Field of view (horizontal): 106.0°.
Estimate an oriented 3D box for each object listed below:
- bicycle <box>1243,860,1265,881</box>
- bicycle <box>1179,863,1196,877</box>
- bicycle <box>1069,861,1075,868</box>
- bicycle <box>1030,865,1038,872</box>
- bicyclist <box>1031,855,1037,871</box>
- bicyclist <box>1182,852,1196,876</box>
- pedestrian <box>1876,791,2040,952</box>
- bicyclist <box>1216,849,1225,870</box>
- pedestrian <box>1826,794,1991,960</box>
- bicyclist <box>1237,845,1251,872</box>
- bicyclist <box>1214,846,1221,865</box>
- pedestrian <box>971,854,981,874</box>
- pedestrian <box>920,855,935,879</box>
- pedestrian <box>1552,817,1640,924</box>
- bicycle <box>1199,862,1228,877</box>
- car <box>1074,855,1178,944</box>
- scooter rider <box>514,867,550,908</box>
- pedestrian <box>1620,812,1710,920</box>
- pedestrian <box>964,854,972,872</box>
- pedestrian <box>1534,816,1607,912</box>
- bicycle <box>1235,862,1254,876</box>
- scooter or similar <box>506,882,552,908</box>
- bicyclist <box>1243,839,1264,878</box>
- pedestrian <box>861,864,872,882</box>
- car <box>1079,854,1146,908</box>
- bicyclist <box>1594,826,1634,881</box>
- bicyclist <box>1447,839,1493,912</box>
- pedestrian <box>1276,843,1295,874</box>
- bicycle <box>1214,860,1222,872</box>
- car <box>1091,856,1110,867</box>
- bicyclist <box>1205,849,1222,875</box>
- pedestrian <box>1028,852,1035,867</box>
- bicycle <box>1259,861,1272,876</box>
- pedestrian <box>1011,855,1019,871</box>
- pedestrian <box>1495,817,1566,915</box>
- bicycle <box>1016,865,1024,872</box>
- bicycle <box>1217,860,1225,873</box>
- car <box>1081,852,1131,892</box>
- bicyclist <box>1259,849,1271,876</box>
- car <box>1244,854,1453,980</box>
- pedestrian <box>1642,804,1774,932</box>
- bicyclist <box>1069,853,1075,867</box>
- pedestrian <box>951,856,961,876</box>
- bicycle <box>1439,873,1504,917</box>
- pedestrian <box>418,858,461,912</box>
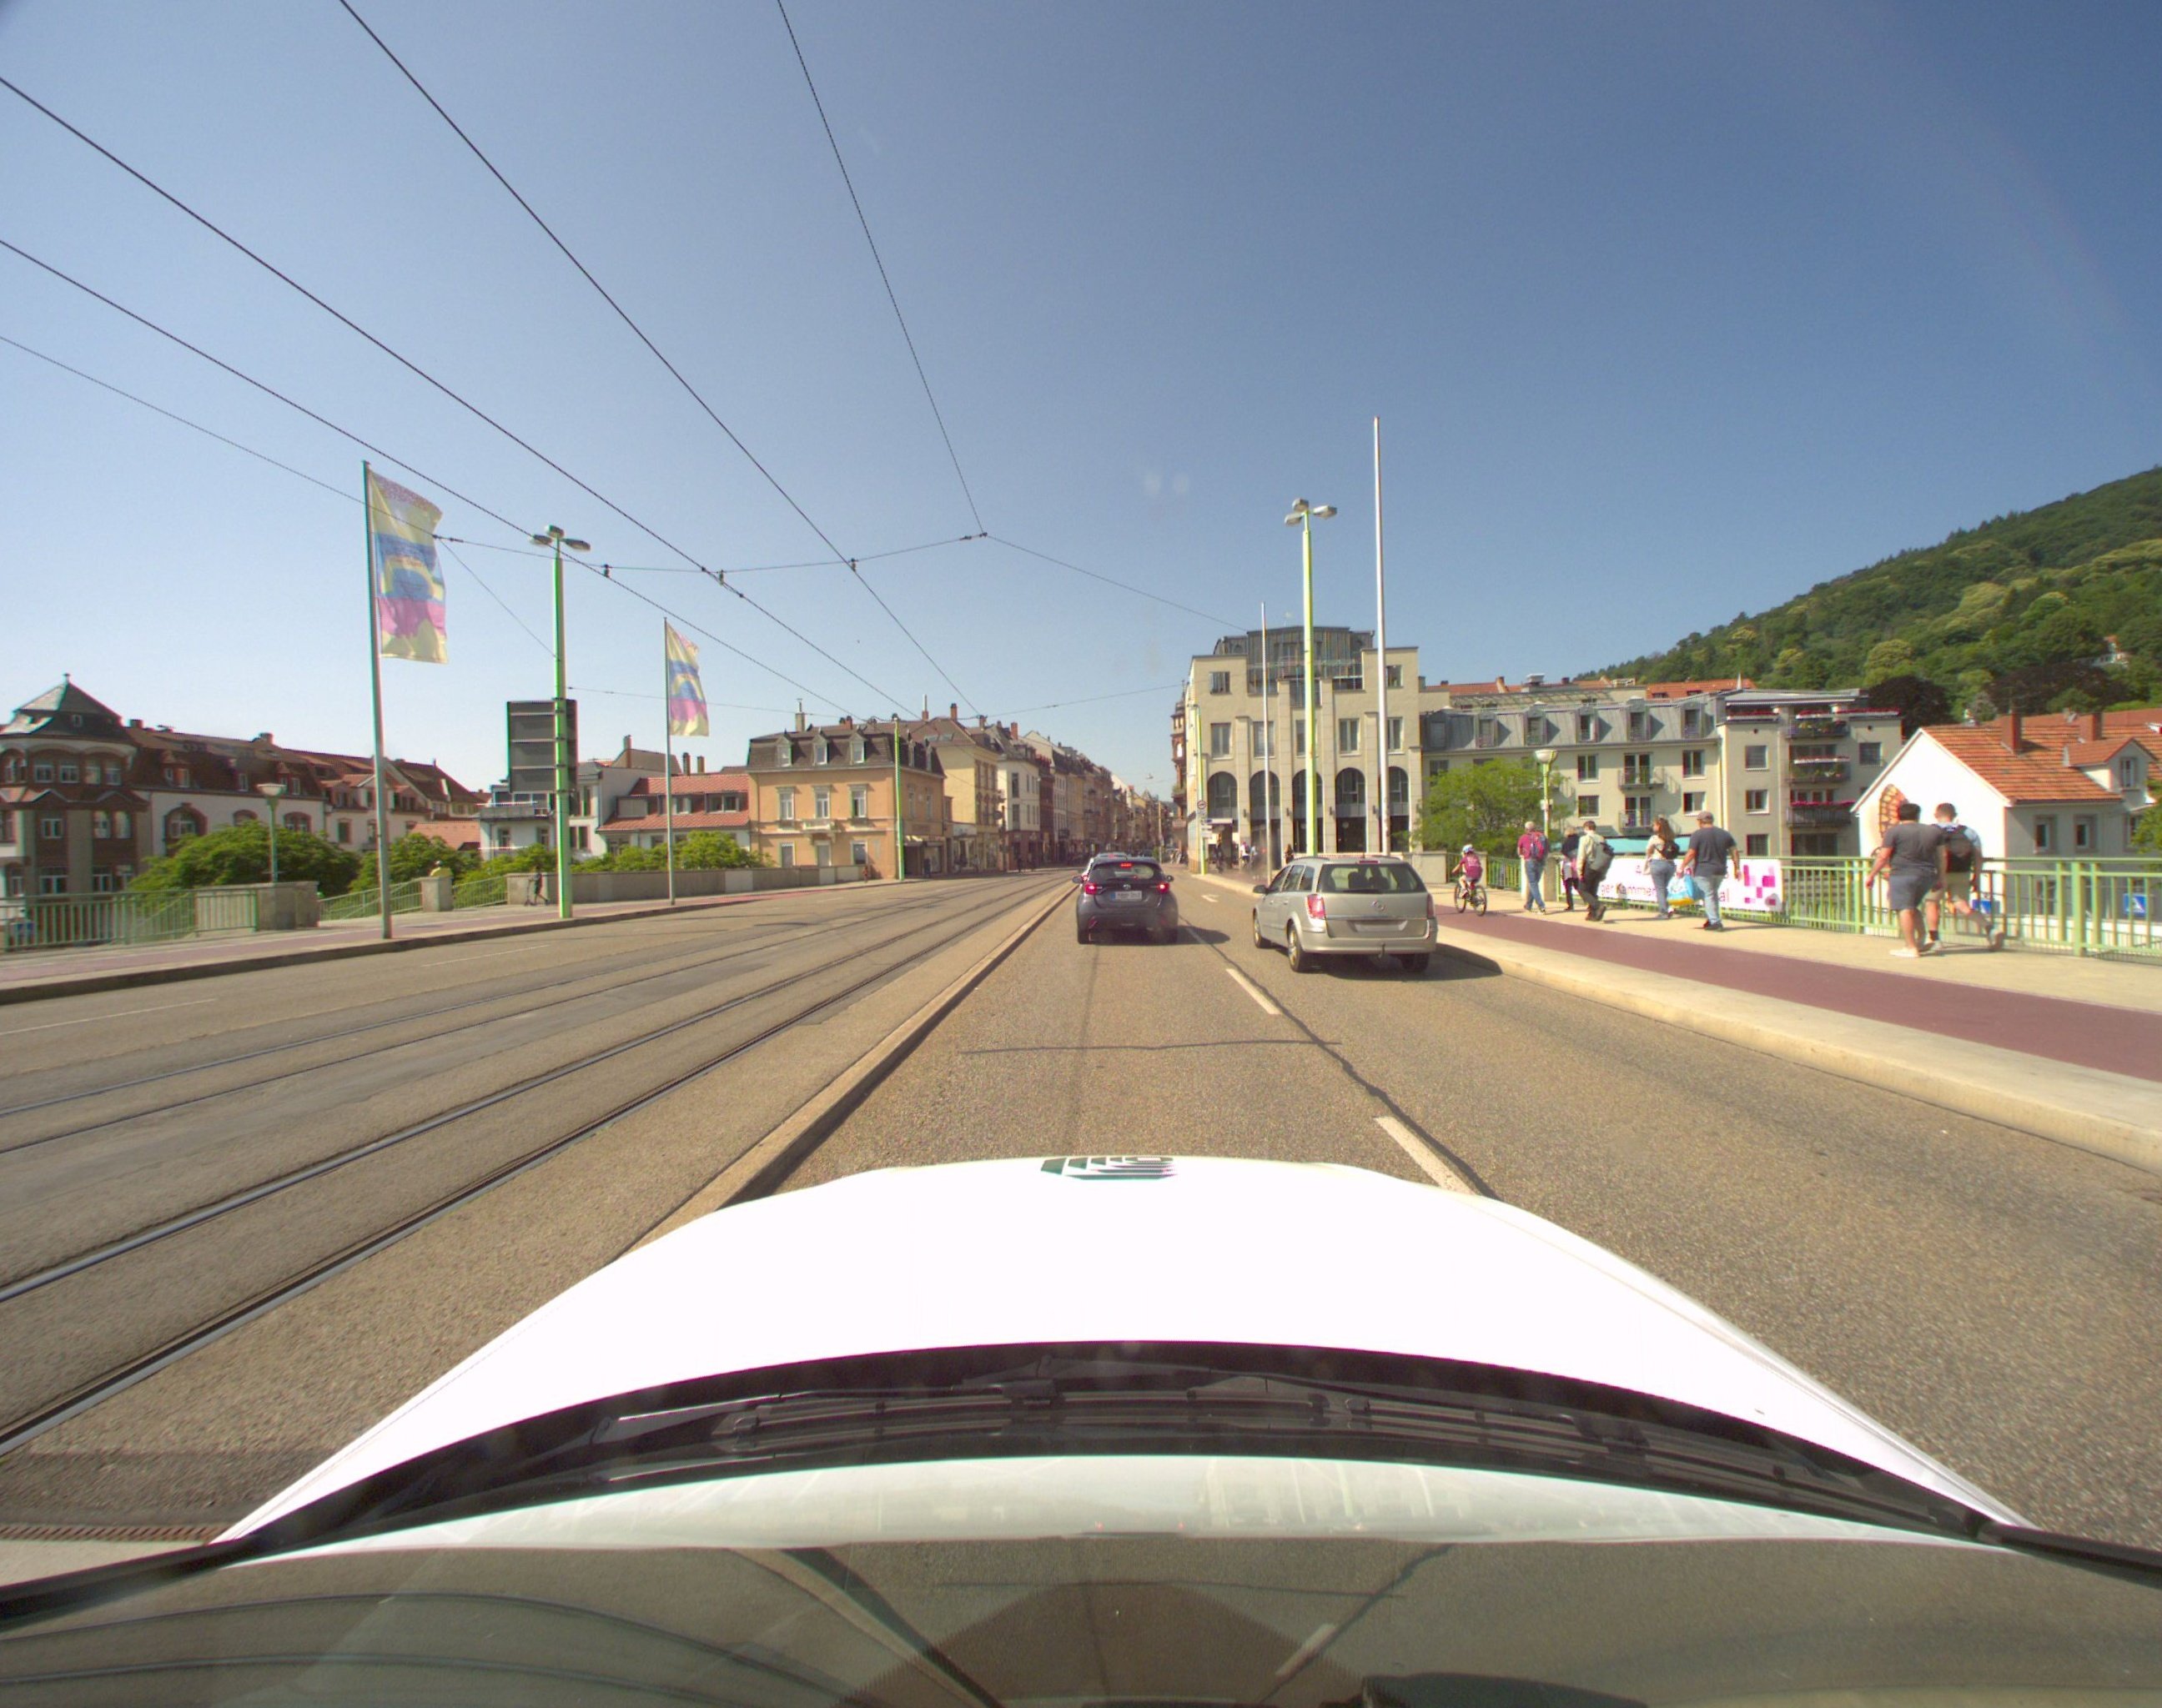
[{"bbox_3d":[7.813,0.718,36.817,0.701,0.882,1.527,-2,0,3],"label":"bicycle"},{"bbox_3d":[11.416,1.713,87.295,1.111,1.420,3.000,2,0,-7],"label":"bicycle"},{"bbox_3d":[-1.115,1.268,99.063,0.618,0.716,1.732,0,1,2],"label":"bicycle"},{"bbox_3d":[-4.944,1.508,85.350,0.618,0.716,1.772,0,1,2],"label":"bicycle"},{"bbox_3d":[-4.930,0.920,85.374,0.625,1.650,0.622,0,1,3],"label":"bicyclist"},{"bbox_3d":[11.555,1.027,87.097,1.227,2.529,1.102,2,0,-8],"label":"bicyclist"},{"bbox_3d":[10.036,0.191,9.370,0.736,1.718,1.016,-2,0,2],"label":"pedestrian"},{"bbox_3d":[8.823,0.346,51.518,0.535,1.316,0.673,-3,0,10],"label":"bicyclist"},{"bbox_3d":[9.210,0.247,9.113,0.736,1.718,1.016,-3,0,2],"label":"pedestrian"},{"bbox_3d":[8.897,0.240,44.418,0.487,1.466,0.438,-3,-1,-37],"label":"bicyclist"},{"bbox_3d":[9.297,0.101,55.439,0.420,1.256,0.444,-3,0,5],"label":"bicyclist"},{"bbox_3d":[-9.520,0.860,73.899,0.733,1.766,0.787,3,0,2],"label":"pedestrian"},{"bbox_3d":[-11.254,0.943,59.710,0.758,1.654,0.713,3,0,6],"label":"pedestrian"},{"bbox_3d":[8.726,0.265,13.840,0.751,1.718,1.073,-3,0,2],"label":"pedestrian"},{"bbox_3d":[13.470,1.583,82.679,1.120,1.420,2.975,2,0,-35],"label":"bicycle"},{"bbox_3d":[0.803,0.750,15.317,1.713,1.473,3.659,0,0,2],"label":"car"},{"bbox_3d":[-18.542,1.128,27.511,0.763,1.315,0.600,3,0,13],"label":"scooter rider"},{"bbox_3d":[9.996,0.203,13.974,0.736,1.746,1.016,-3,0,2],"label":"pedestrian"},{"bbox_3d":[-10.460,0.855,75.402,0.646,1.602,0.566,3,2,2],"label":"pedestrian"},{"bbox_3d":[9.487,0.188,15.808,0.736,1.777,1.016,-3,0,2],"label":"pedestrian"},{"bbox_3d":[8.912,0.820,44.422,0.419,0.765,0.951,-3,0,-37],"label":"bicycle"},{"bbox_3d":[-18.599,1.379,27.442,0.774,0.782,0.964,3,0,13],"label":"scooter or similar"},{"bbox_3d":[7.789,0.208,36.792,0.699,1.695,0.925,-2,0,3],"label":"bicyclist"},{"bbox_3d":[-13.655,1.216,51.872,0.409,1.146,0.546,3,0,8],"label":"pedestrian"},{"bbox_3d":[0.947,0.761,24.875,1.890,1.530,4.002,0,0,2],"label":"car"},{"bbox_3d":[17.050,-0.011,26.080,0.913,1.695,1.150,-2,0,29],"label":"bicyclist"},{"bbox_3d":[7.646,0.416,16.026,0.532,1.383,0.669,-3,0,2],"label":"bicyclist"},{"bbox_3d":[10.998,0.250,43.792,0.736,1.615,1.016,3,0,2],"label":"pedestrian"},{"bbox_3d":[9.340,0.814,55.474,0.414,0.765,0.963,-3,0,5],"label":"bicycle"},{"bbox_3d":[2.668,0.986,109.571,1.719,1.460,4.388,-2,0,12],"label":"car"},{"bbox_3d":[13.466,0.782,82.654,1.237,2.529,1.093,3,0,-36],"label":"bicyclist"},{"bbox_3d":[-5.902,0.704,97.711,0.733,1.766,0.787,-1,1,2],"label":"pedestrian"},{"bbox_3d":[9.548,0.757,42.168,0.415,0.765,0.962,-3,0,2],"label":"bicycle"},{"bbox_3d":[-7.066,0.959,87.359,0.733,1.766,0.788,-1,1,2],"label":"pedestrian"},{"bbox_3d":[8.664,0.221,15.732,0.736,1.802,1.016,-3,0,2],"label":"pedestrian"},{"bbox_3d":[-6.504,1.508,86.959,0.618,0.716,1.772,0,1,2],"label":"bicycle"},{"bbox_3d":[8.849,0.790,51.491,0.414,0.765,1.208,-3,0,9],"label":"bicycle"},{"bbox_3d":[1.013,0.697,33.035,1.890,1.530,4.002,0,0,2],"label":"car"},{"bbox_3d":[9.529,0.426,42.181,0.420,1.383,0.444,-3,0,2],"label":"bicyclist"},{"bbox_3d":[3.542,0.730,11.640,1.699,1.466,4.328,0,0,2],"label":"car"},{"bbox_3d":[9.342,0.204,12.193,0.974,1.777,1.208,-3,0,2],"label":"pedestrian"},{"bbox_3d":[-1.115,0.740,99.013,0.625,1.650,0.622,0,1,3],"label":"bicyclist"},{"bbox_3d":[-10.626,0.992,69.132,0.646,1.602,0.566,3,2,2],"label":"pedestrian"},{"bbox_3d":[7.668,0.784,16.071,0.512,0.765,1.661,-3,0,2],"label":"bicycle"},{"bbox_3d":[-21.584,1.032,27.409,0.741,1.781,0.803,-2,0,8],"label":"pedestrian"}]
